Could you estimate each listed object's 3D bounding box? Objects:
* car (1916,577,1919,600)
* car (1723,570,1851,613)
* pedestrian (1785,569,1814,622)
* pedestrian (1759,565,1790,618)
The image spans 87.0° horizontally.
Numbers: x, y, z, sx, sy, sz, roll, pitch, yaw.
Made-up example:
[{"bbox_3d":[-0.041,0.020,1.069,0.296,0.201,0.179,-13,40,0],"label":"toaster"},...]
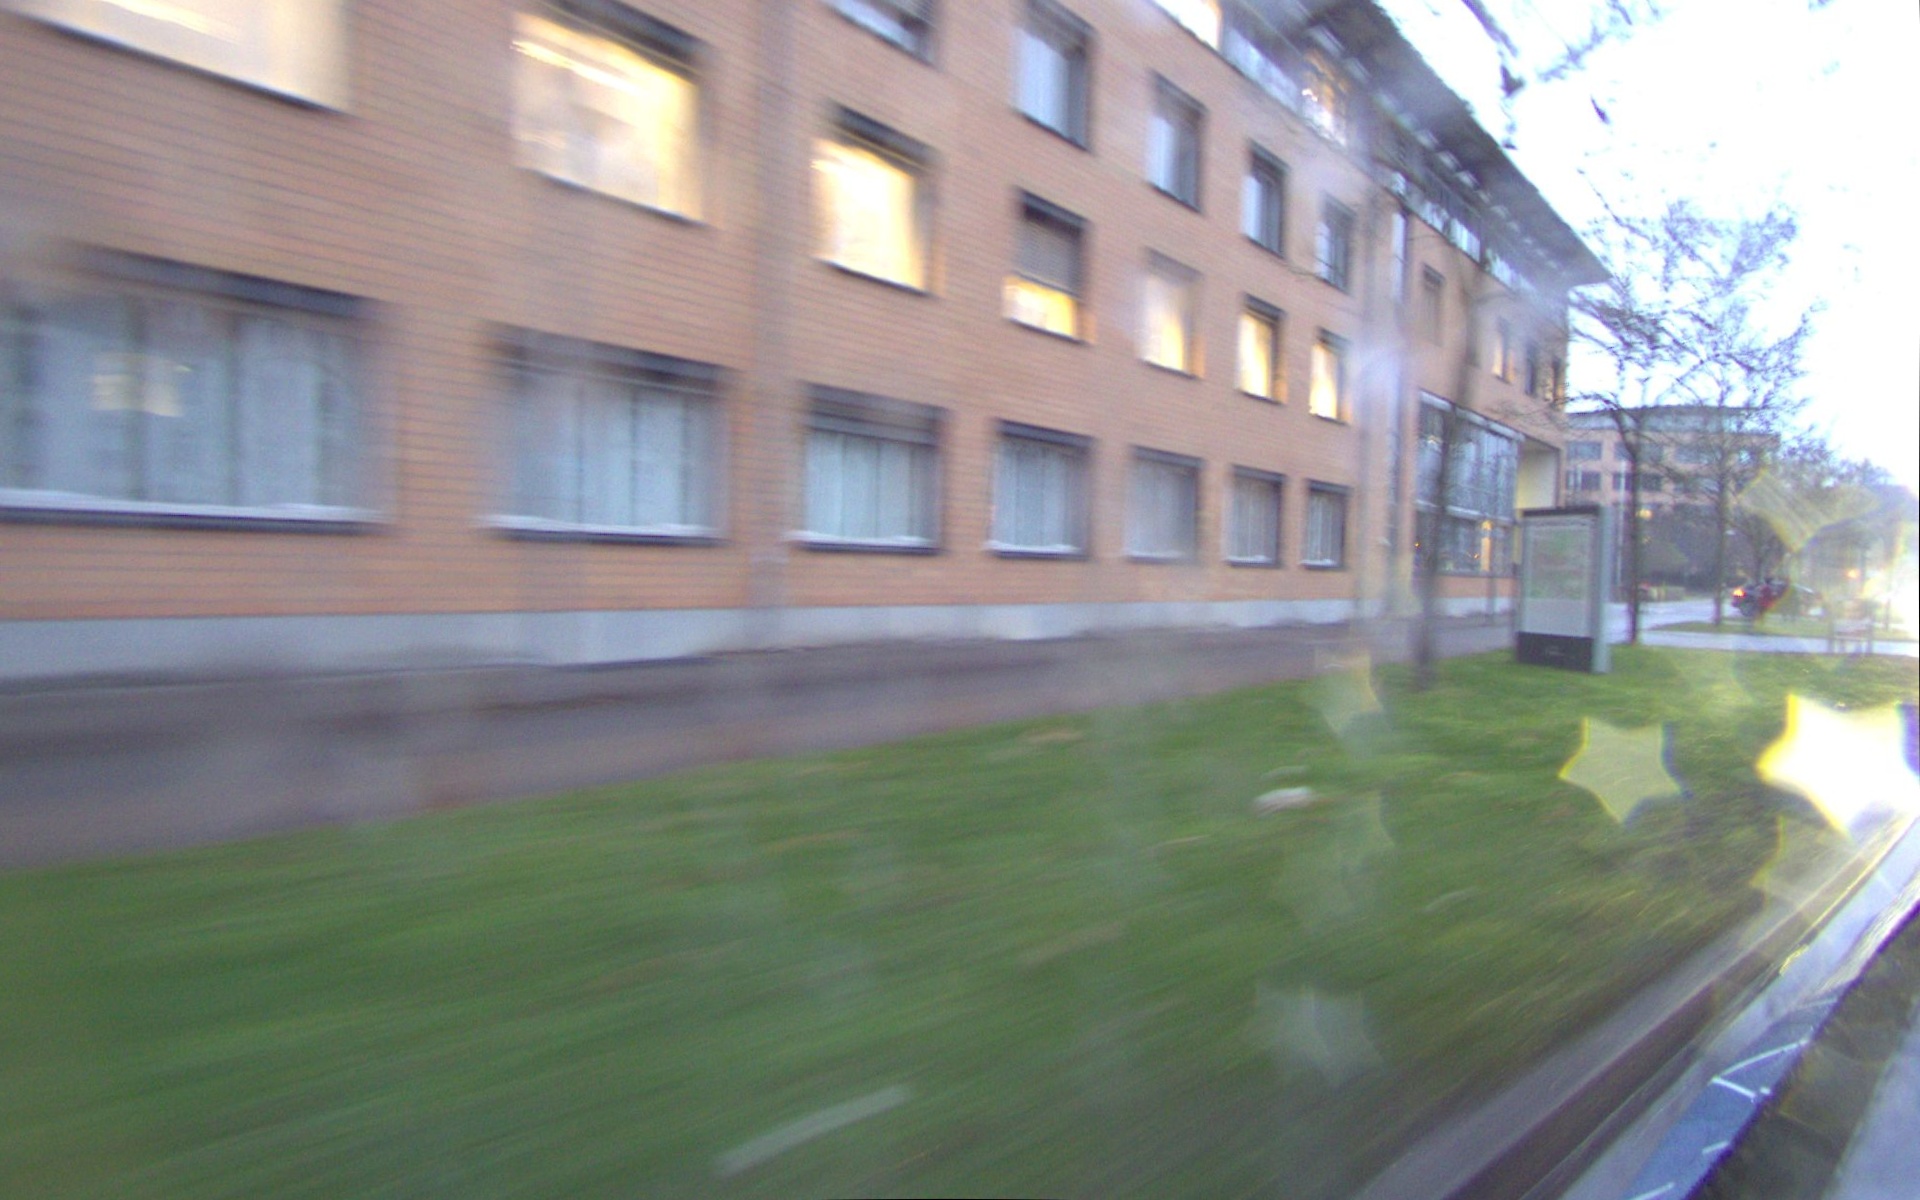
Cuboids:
[{"bbox_3d":[73.646,-0.834,76.449,1.994,1.724,3.937,3,2,43],"label":"car"},{"bbox_3d":[35.031,-0.382,42.933,1.714,1.574,3.991,-1,4,-45],"label":"car"},{"bbox_3d":[29.602,-0.178,35.681,0.499,1.847,0.654,2,2,18],"label":"pedestrian"},{"bbox_3d":[27.640,-0.313,34.362,0.497,1.763,0.656,2,2,11],"label":"pedestrian"}]
